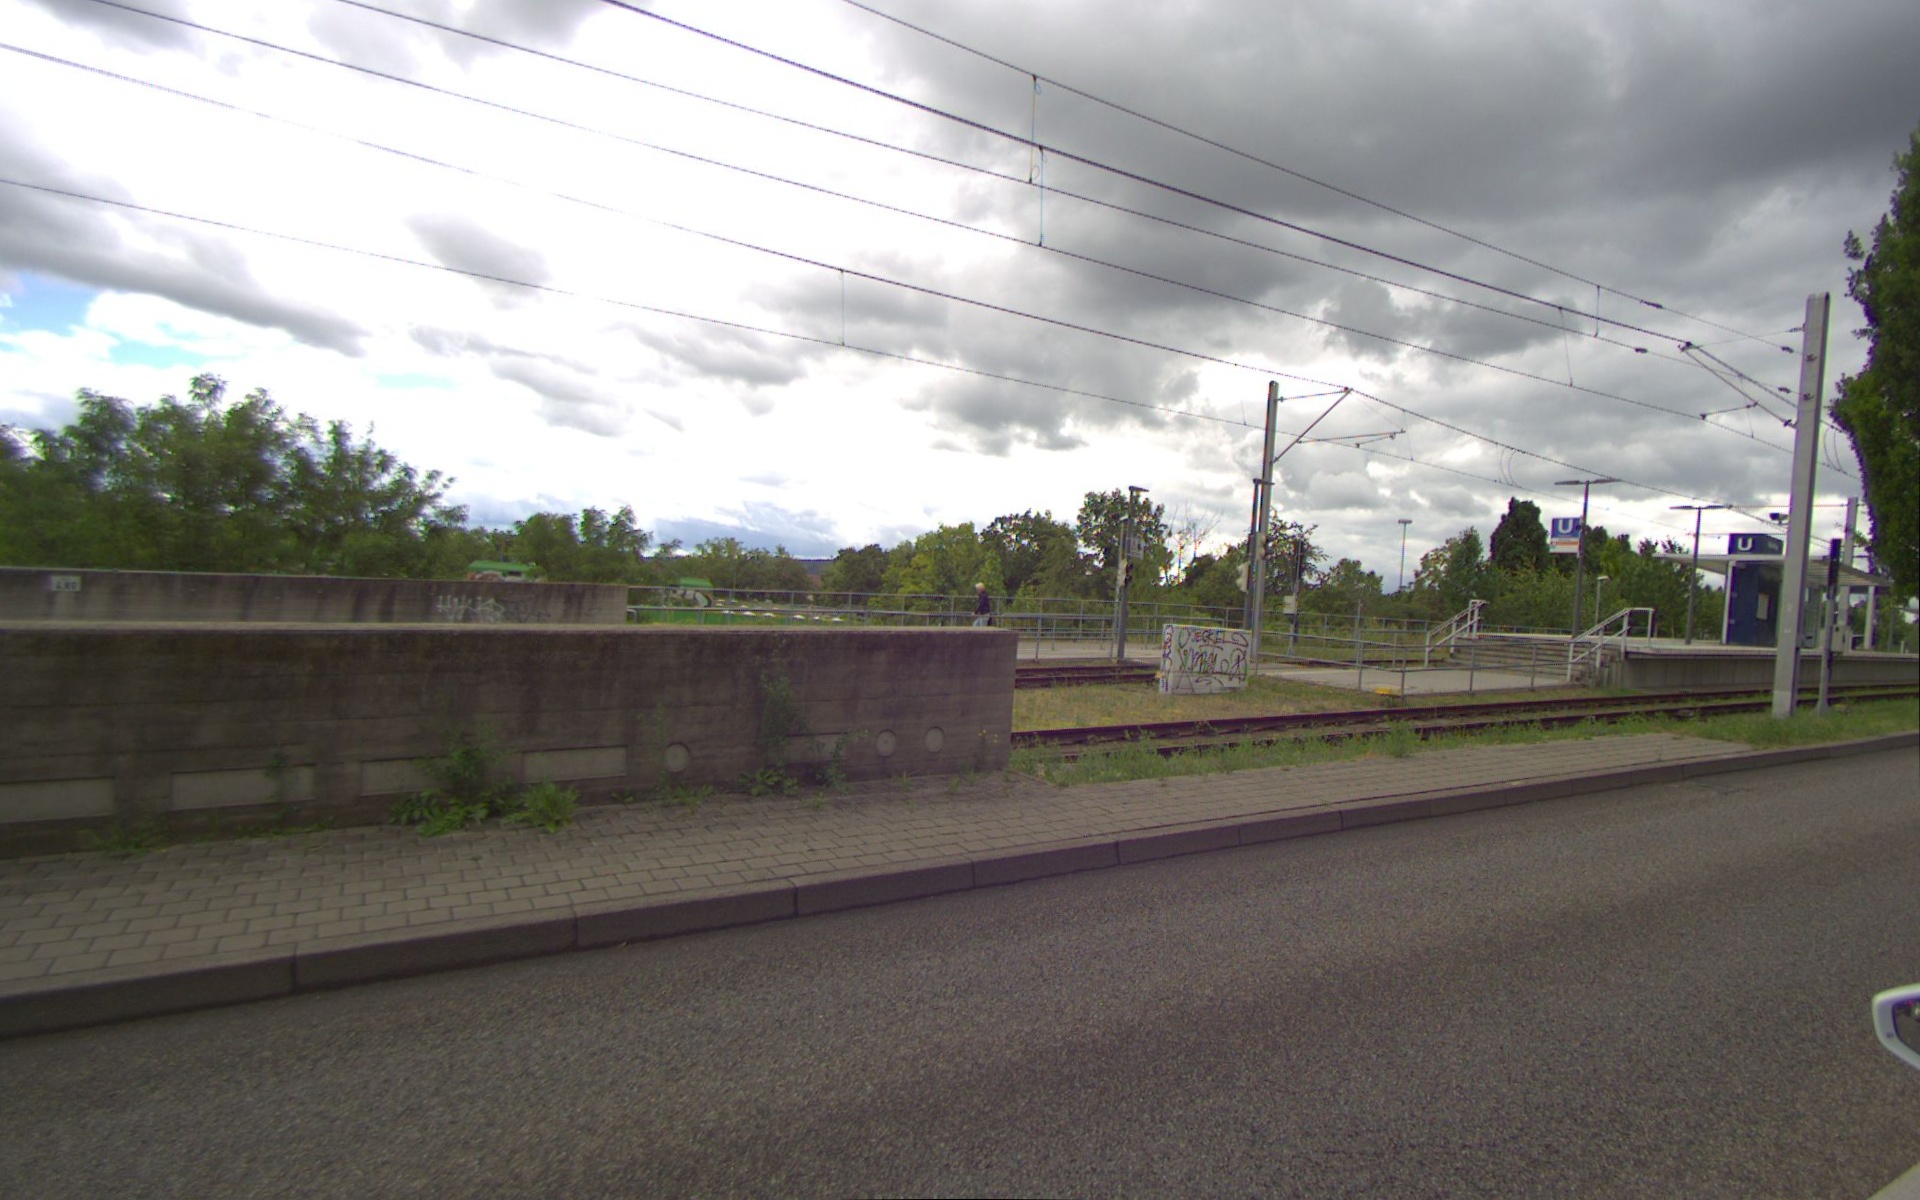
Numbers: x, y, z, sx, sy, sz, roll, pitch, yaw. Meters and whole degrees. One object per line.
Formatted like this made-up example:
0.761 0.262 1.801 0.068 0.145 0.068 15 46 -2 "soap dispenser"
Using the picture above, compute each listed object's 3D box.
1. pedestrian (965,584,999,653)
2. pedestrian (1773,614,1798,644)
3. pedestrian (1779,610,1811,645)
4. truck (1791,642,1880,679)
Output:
0.535 0.453 24.549 0.638 1.646 0.505 1 0 -31 "pedestrian"
30.835 1.081 37.533 0.466 1.093 0.603 1 0 -36 "pedestrian"
30.435 0.991 36.612 0.659 1.215 0.756 3 0 -36 "pedestrian"
99.957 6.864 114.793 2.661 3.647 7.202 1 0 -31 "truck"
